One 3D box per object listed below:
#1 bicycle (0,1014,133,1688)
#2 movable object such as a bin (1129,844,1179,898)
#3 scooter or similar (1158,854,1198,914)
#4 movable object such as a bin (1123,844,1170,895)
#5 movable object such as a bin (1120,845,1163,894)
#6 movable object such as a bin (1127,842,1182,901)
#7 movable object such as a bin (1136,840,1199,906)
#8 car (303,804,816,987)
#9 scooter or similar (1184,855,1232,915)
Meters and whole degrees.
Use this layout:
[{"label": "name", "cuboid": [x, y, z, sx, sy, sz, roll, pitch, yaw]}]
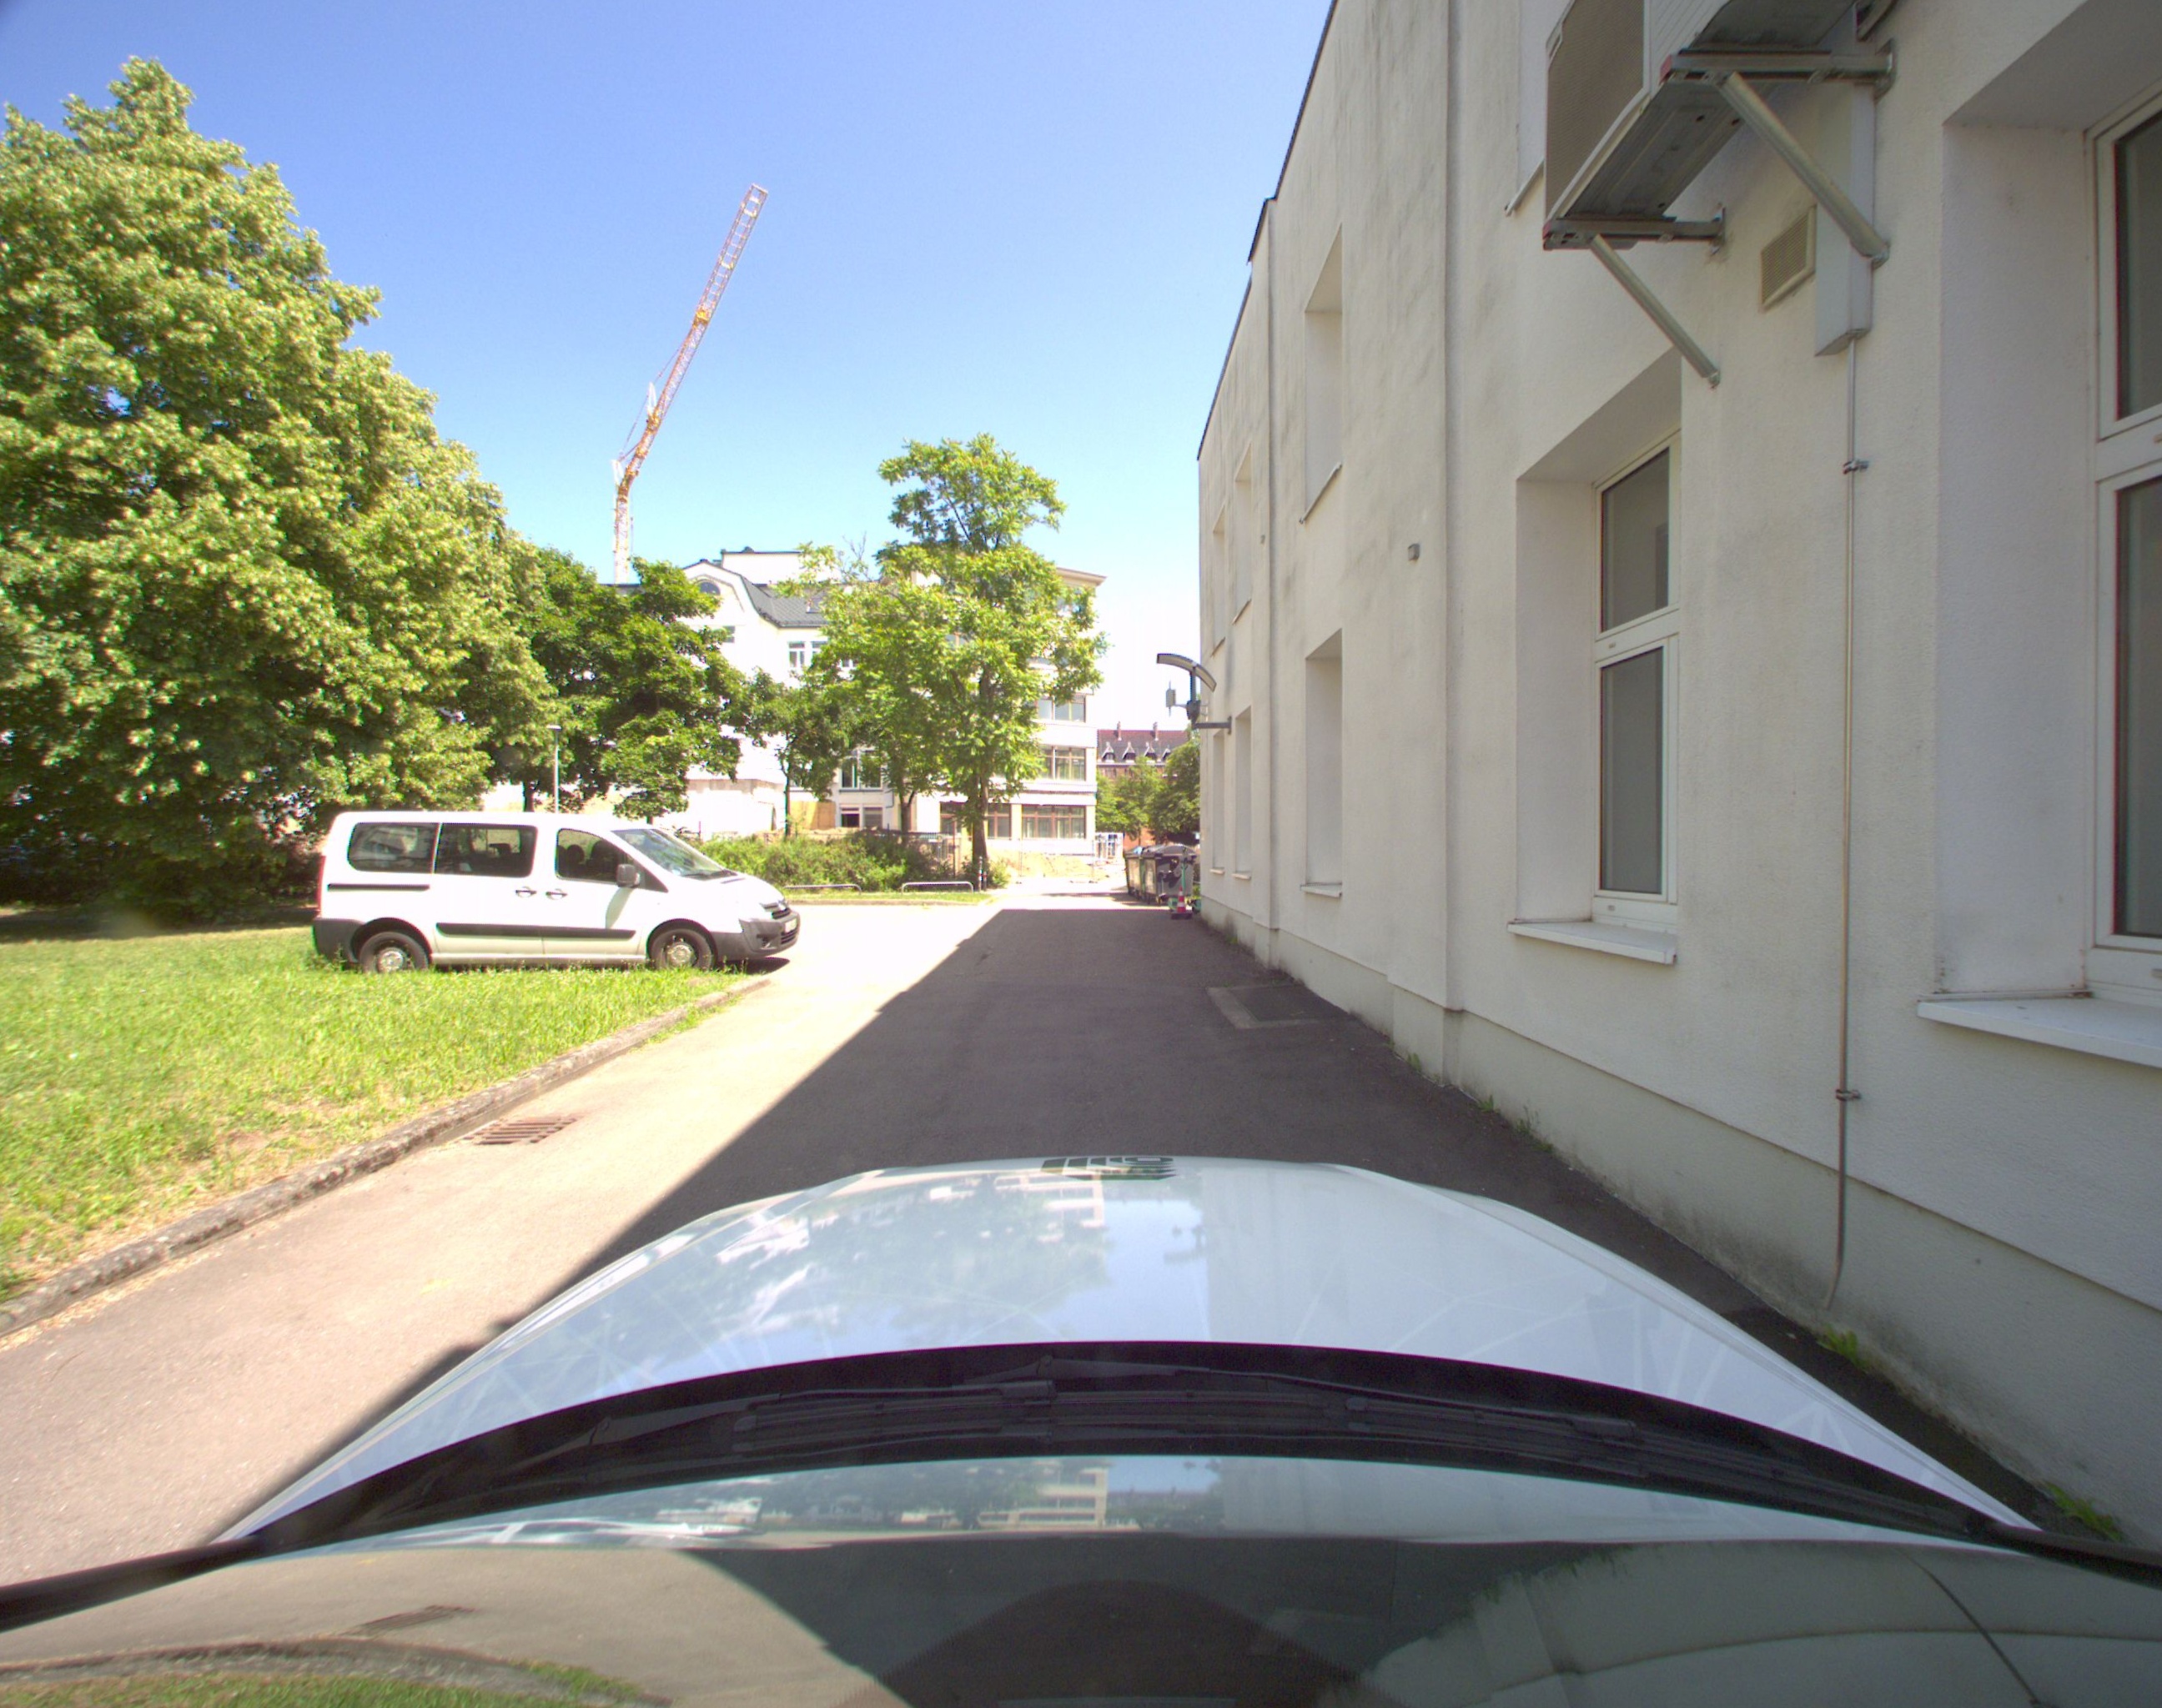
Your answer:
[{"label": "bicycle", "cuboid": [-2.261, 0.927, 0.713, 0.642, 1.174, 1.904, 0, 1, -1]}, {"label": "movable object such as a bin", "cuboid": [1.999, 0.464, 22.559, 1.177, 1.470, 1.309, 0, -1, -4]}, {"label": "scooter or similar", "cuboid": [1.974, 0.598, 16.685, 0.463, 1.174, 1.353, 0, 0, -9]}, {"label": "movable object such as a bin", "cuboid": [1.923, 0.446, 23.999, 1.177, 1.470, 1.309, 0, -1, -6]}, {"label": "movable object such as a bin", "cuboid": [1.904, 0.475, 25.538, 1.171, 1.470, 1.337, 0, -1, 11]}, {"label": "movable object such as a bin", "cuboid": [1.899, 0.448, 21.173, 1.177, 1.470, 1.308, 0, -1, -7]}, {"label": "movable object such as a bin", "cuboid": [2.050, 0.439, 19.441, 1.155, 1.505, 1.458, 0, -1, -9]}, {"label": "car", "cuboid": [-5.912, 0.409, 9.844, 4.781, 1.911, 1.996, -1, 1, -6]}, {"label": "scooter or similar", "cuboid": [2.573, 0.609, 16.604, 0.465, 1.174, 1.249, 0, 0, -17]}]
